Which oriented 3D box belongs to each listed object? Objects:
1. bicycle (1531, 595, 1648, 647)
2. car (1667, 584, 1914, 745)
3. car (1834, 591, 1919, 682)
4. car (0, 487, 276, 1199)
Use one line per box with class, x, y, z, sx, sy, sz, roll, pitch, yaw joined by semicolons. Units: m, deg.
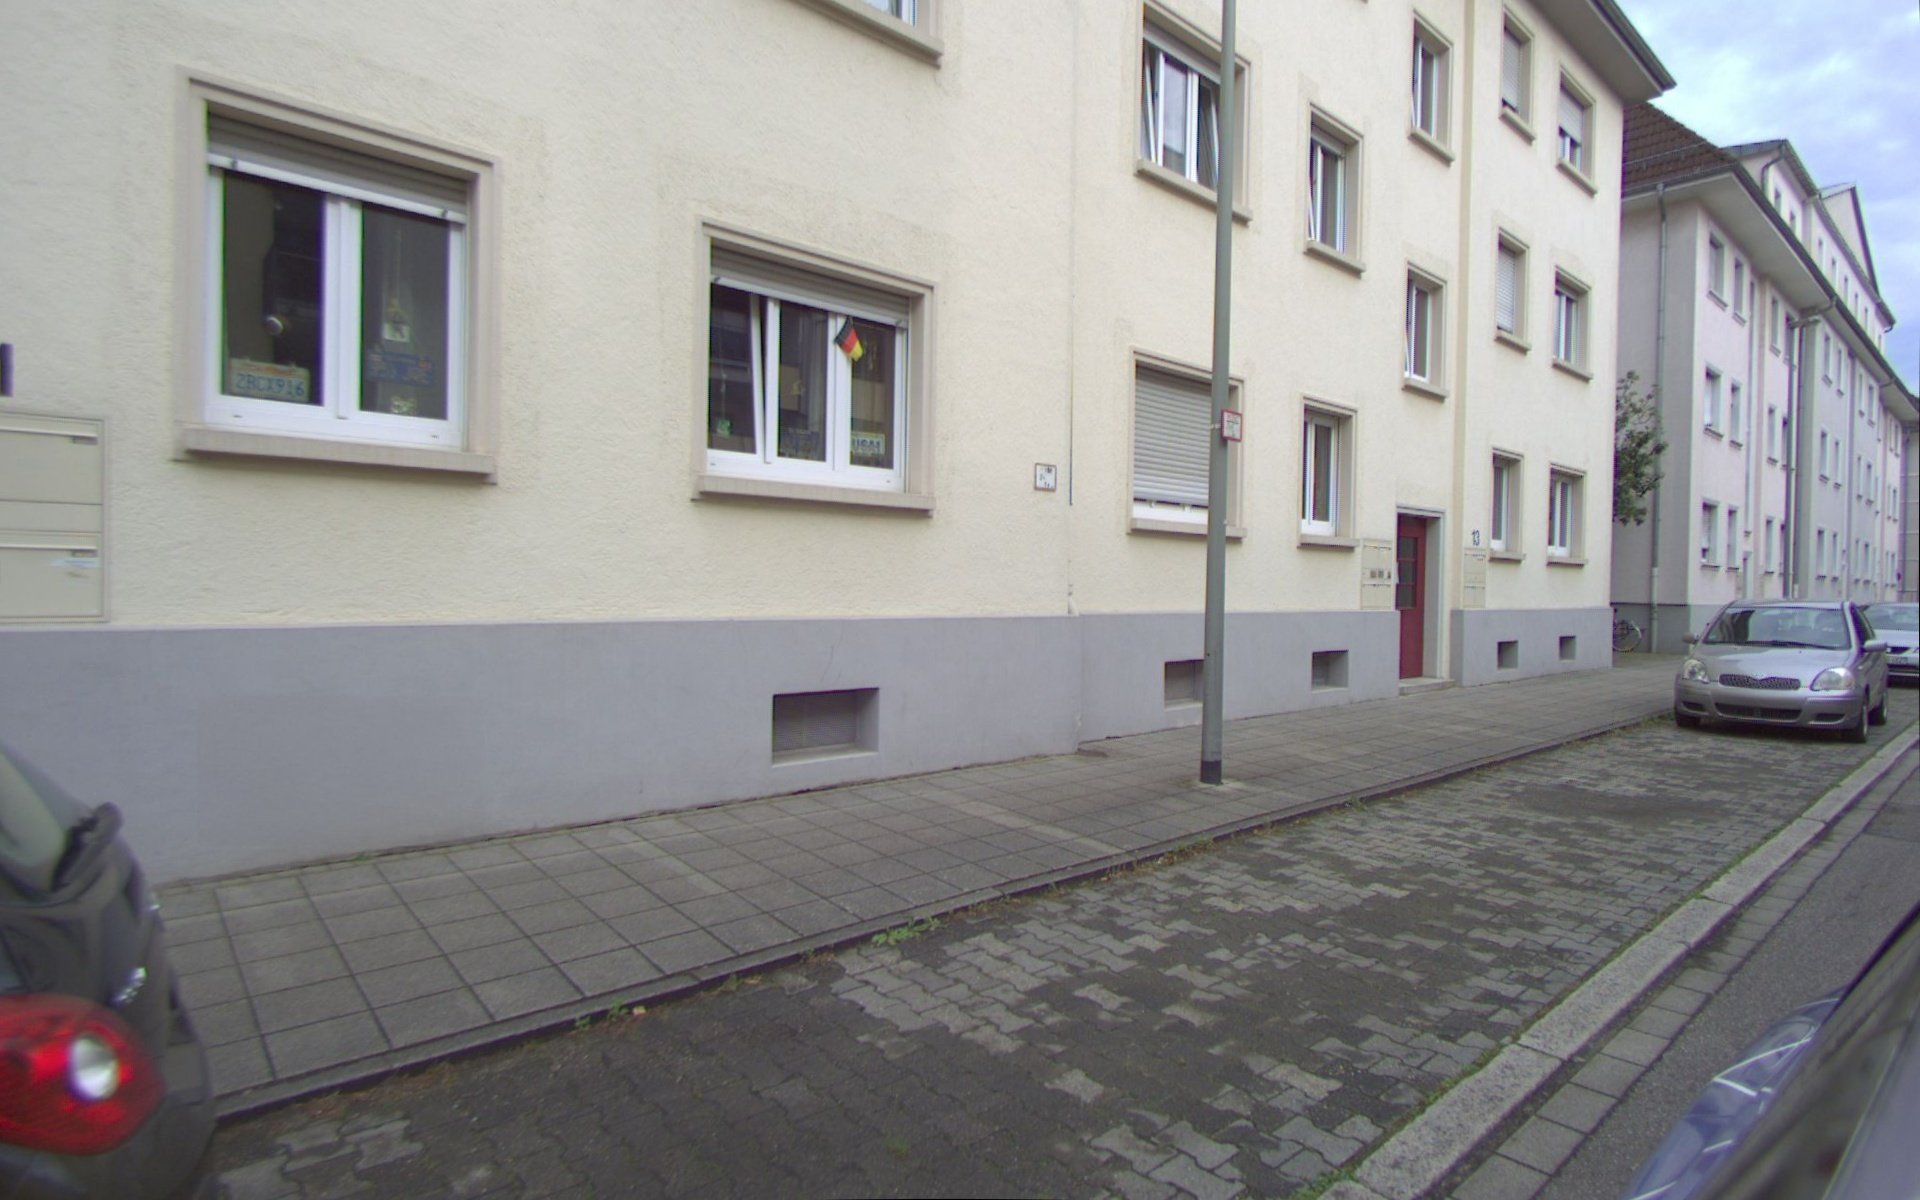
bicycle;14.617;0.462;23.541;0.637;1.090;2.211;0;1;-42
car;9.864;0.614;11.908;3.992;1.536;1.727;0;2;-43
car;17.410;0.609;18.471;3.991;1.510;1.727;0;1;-42
car;-2.851;0.649;0.472;3.992;1.536;1.727;0;0;-43
